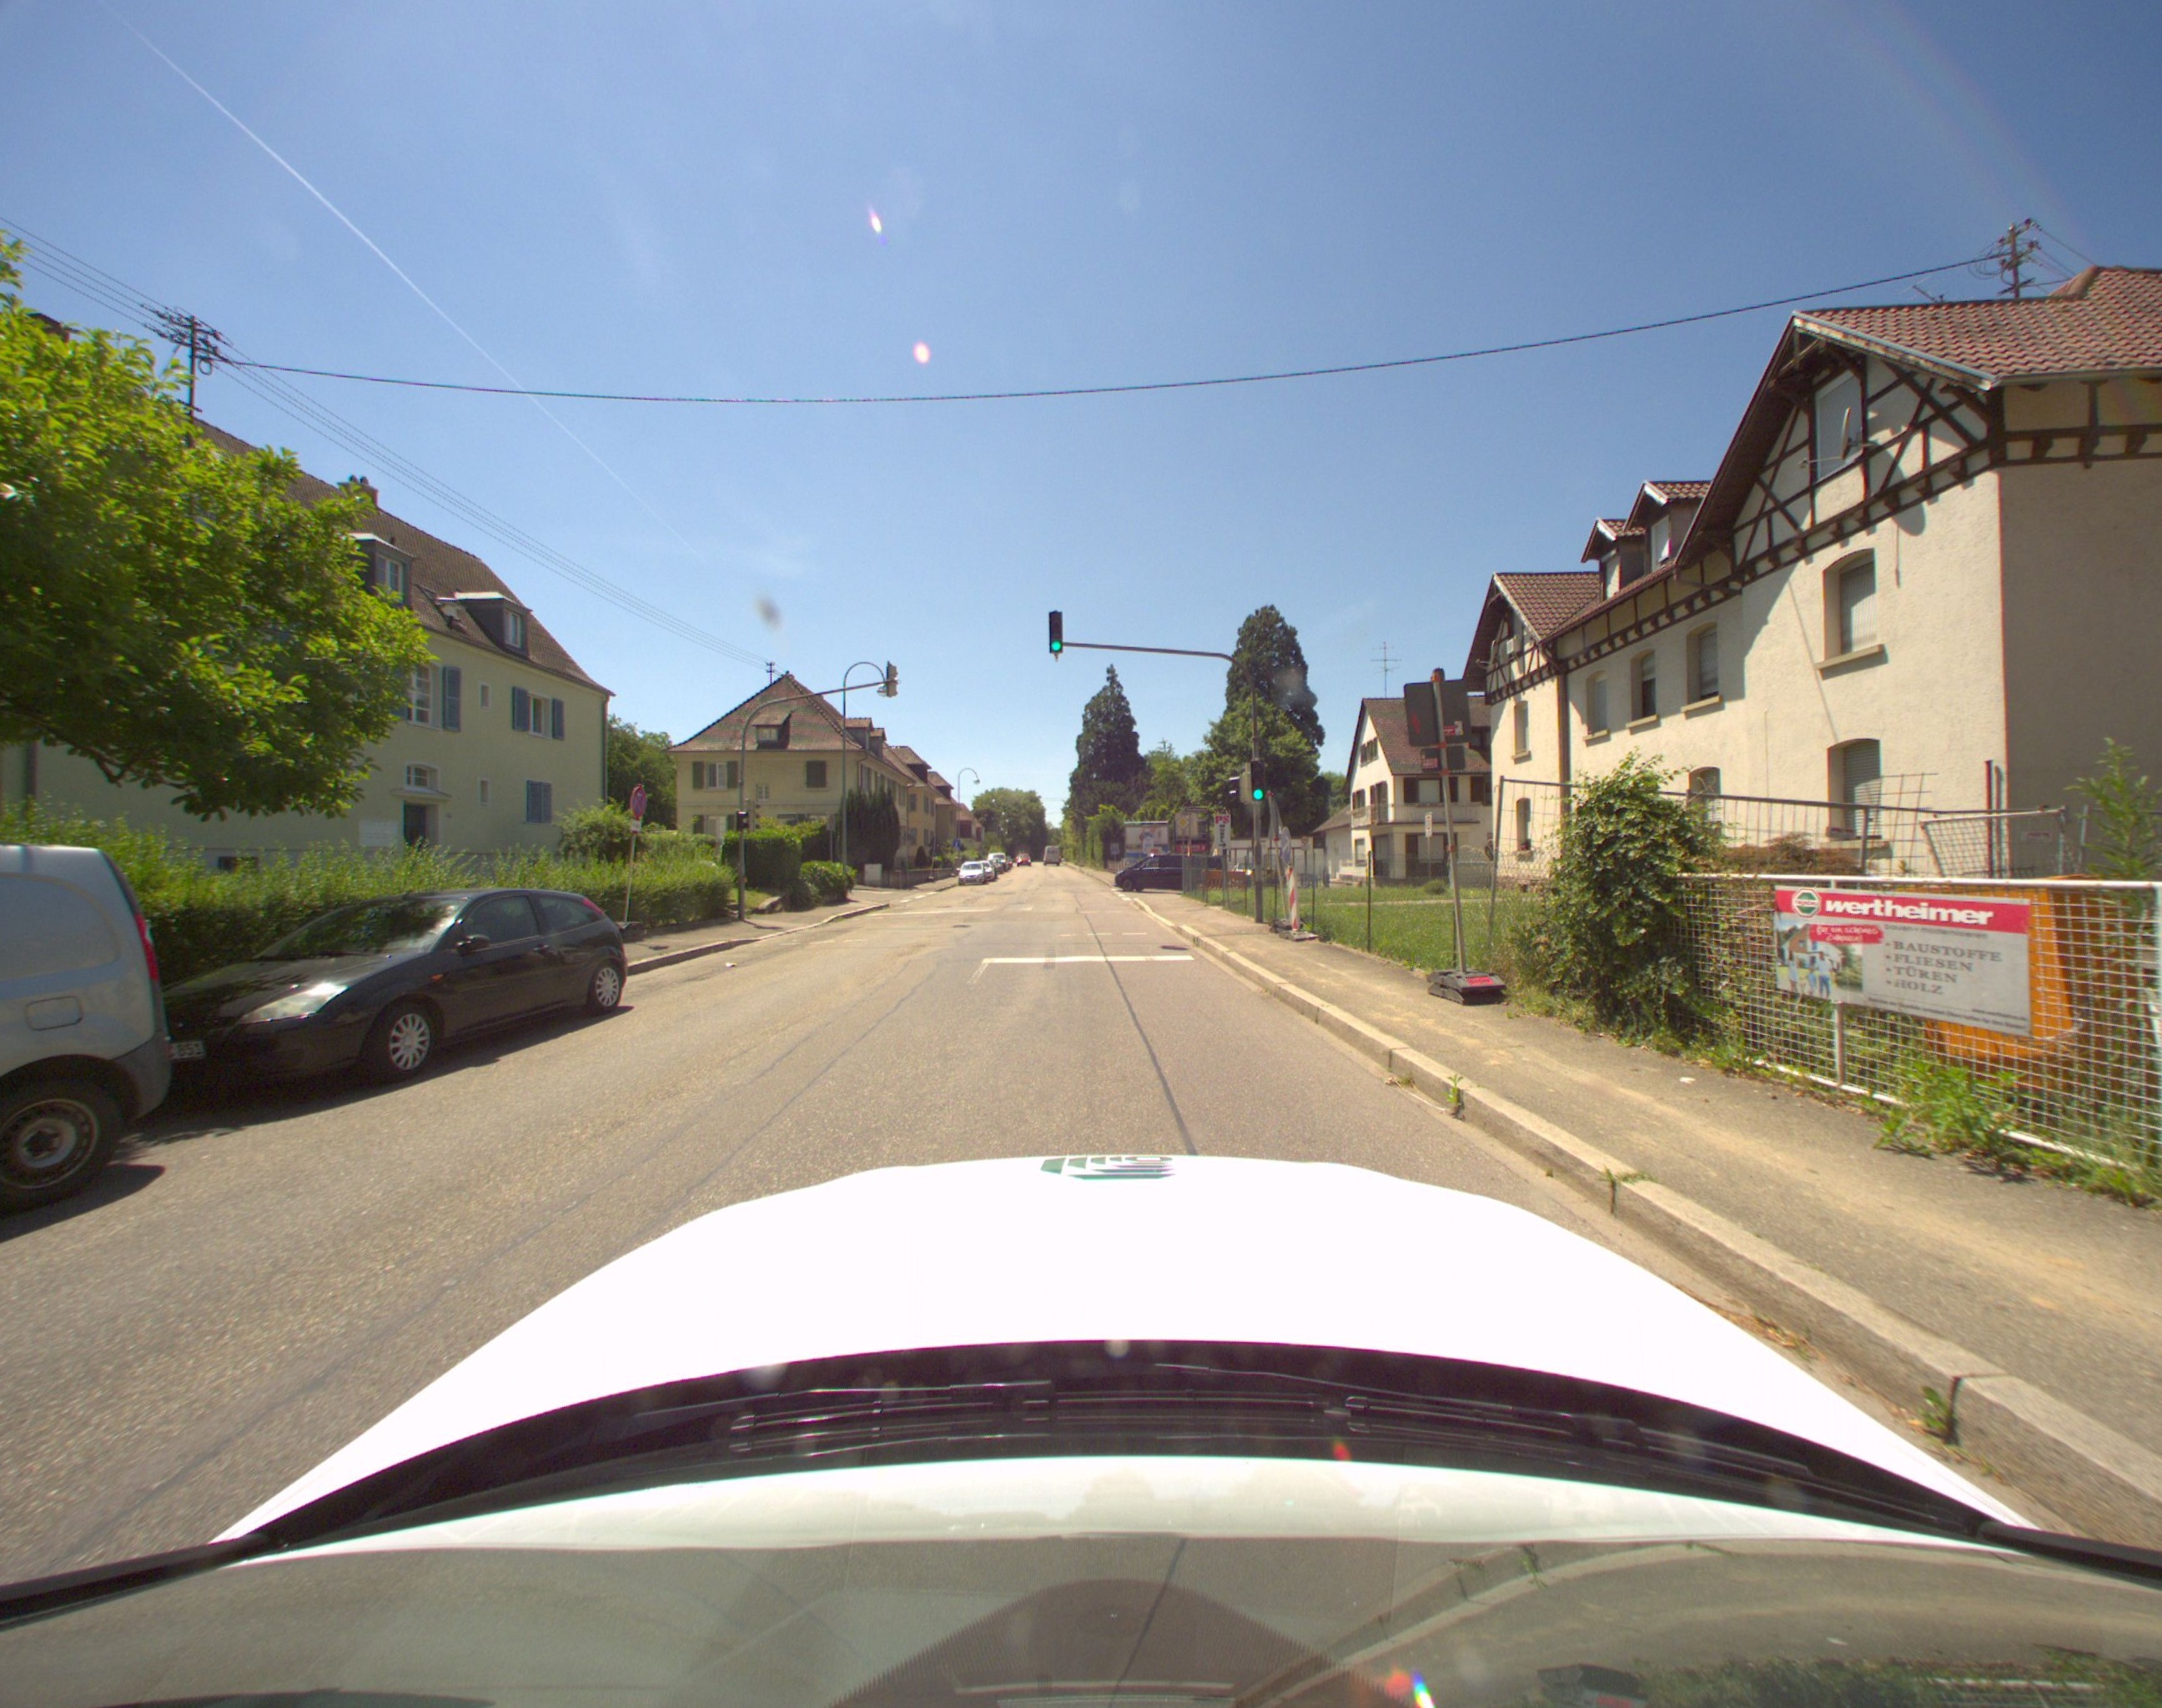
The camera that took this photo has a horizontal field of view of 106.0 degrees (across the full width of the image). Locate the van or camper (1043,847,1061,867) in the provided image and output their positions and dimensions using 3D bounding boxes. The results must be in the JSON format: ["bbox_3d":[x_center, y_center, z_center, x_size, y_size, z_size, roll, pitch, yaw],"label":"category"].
[{"bbox_3d":[-3.922,0.436,108.769,2.257,2.528,4.754,-2,0,-3],"label":"van or camper"}]

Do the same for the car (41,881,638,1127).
[{"bbox_3d":[-5.882,1.036,7.253,1.676,1.412,3.925,-3,-1,0],"label":"car"}]

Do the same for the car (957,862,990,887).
[{"bbox_3d":[-6.745,1.265,51.439,1.756,1.447,3.918,-2,0,-4],"label":"car"}]

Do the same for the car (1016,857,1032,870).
[{"bbox_3d":[-7.166,1.143,102.575,1.810,1.566,3.692,-2,0,-3],"label":"car"}]

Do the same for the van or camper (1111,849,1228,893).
[{"bbox_3d":[4.165,0.765,38.224,5.211,2.014,1.917,0,0,17],"label":"van or camper"}]

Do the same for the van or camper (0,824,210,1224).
[{"bbox_3d":[-5.765,0.793,2.545,1.675,1.804,3.986,-3,-1,1],"label":"van or camper"}]

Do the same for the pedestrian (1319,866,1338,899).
[{"bbox_3d":[12.076,1.391,39.697,0.693,1.600,0.572,-1,-1,-3],"label":"pedestrian"}]

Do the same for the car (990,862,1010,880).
[{"bbox_3d":[-7.467,1.528,75.046,1.683,1.525,4.057,-1,0,-4],"label":"car"}]

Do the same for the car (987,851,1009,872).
[{"bbox_3d":[-8.347,0.706,81.946,1.874,1.963,4.620,-3,0,-3],"label":"car"}]

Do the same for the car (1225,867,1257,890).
[{"bbox_3d":[9.362,1.436,47.942,1.702,1.270,3.393,0,0,8],"label":"car"}]

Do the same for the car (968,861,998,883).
[{"bbox_3d":[-6.782,1.235,56.599,1.791,1.402,4.212,-2,0,-4],"label":"car"}]
